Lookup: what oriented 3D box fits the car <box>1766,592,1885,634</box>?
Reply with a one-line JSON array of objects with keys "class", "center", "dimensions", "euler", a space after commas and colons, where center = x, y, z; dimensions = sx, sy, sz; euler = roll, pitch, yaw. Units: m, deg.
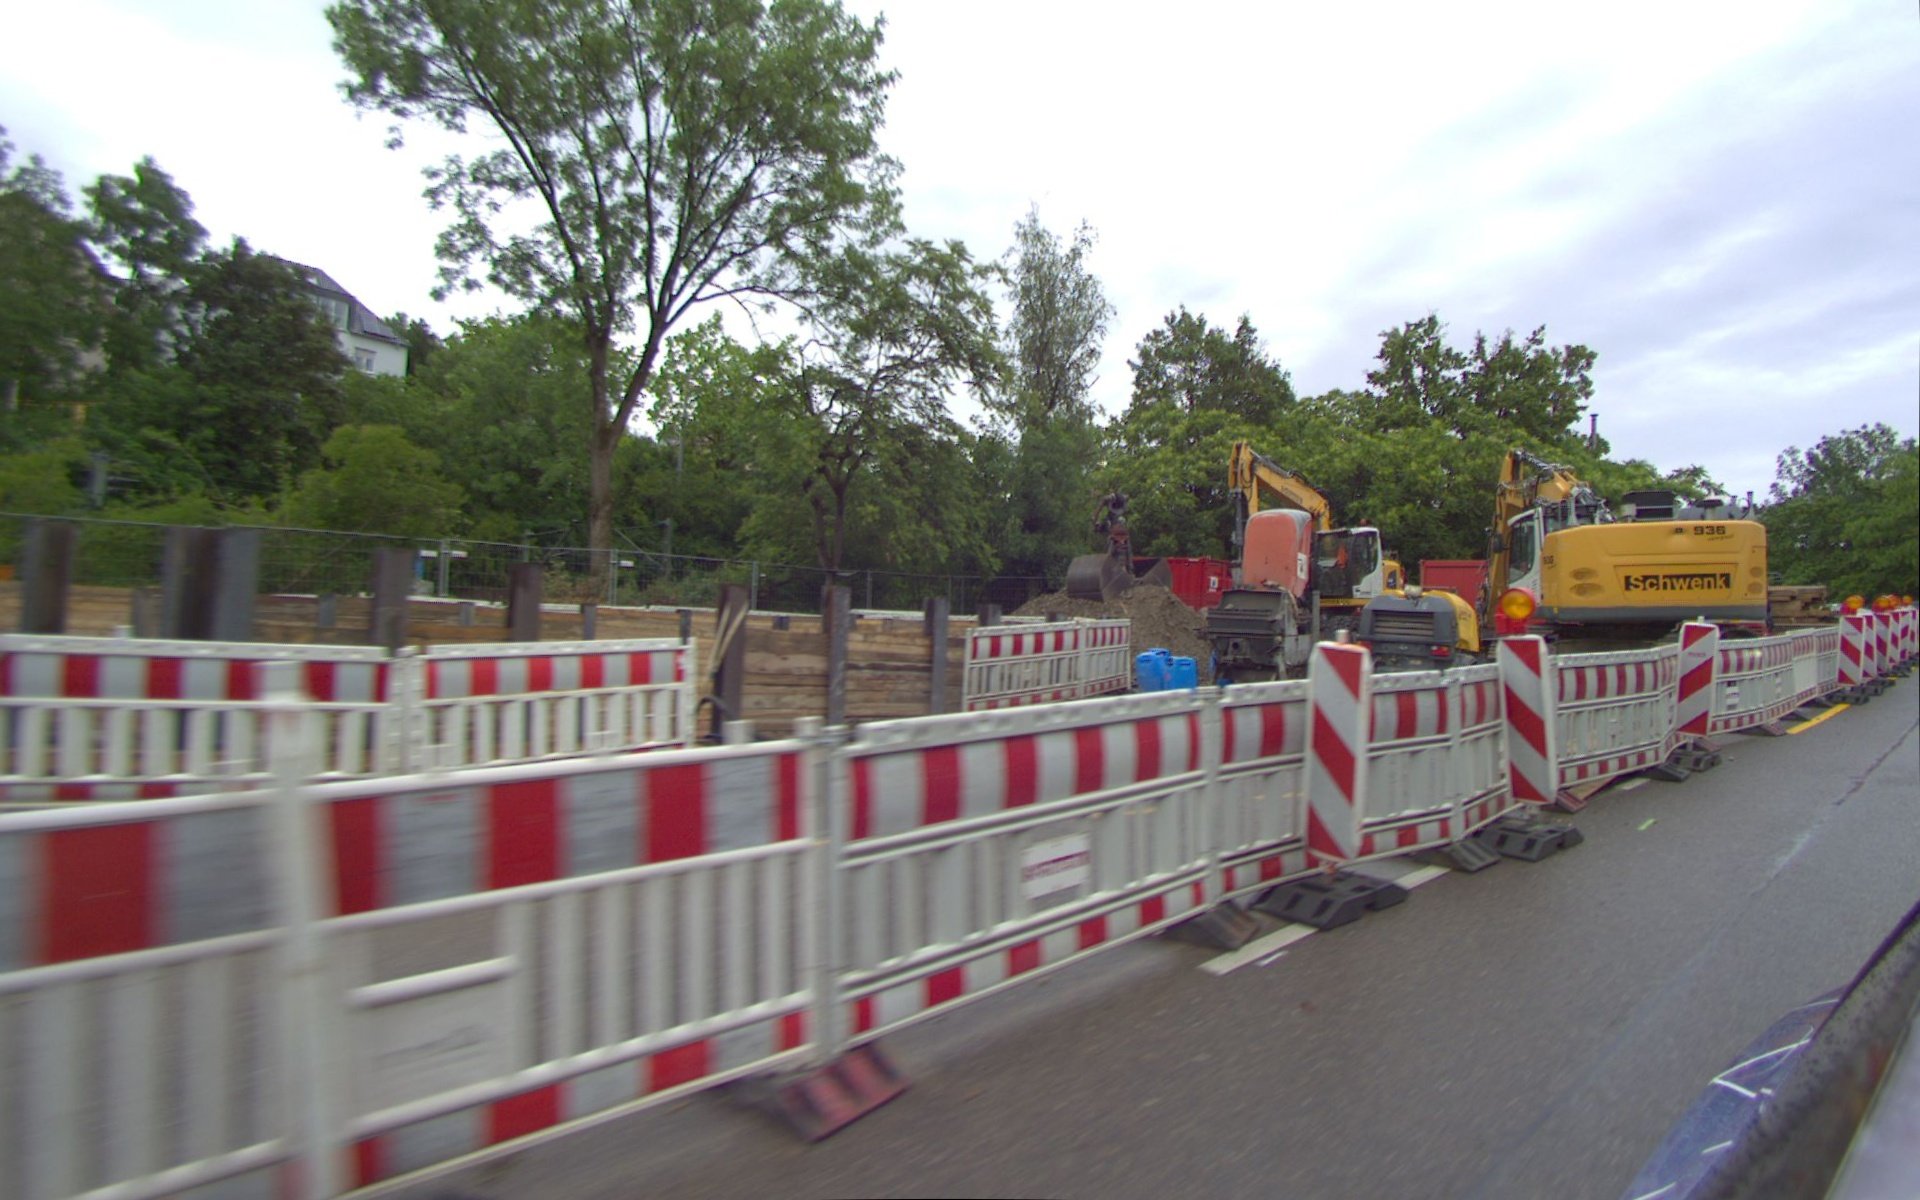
[{"class": "car", "center": [45.552, 0.717, 53.402], "dimensions": [1.834, 2.040, 4.817], "euler": [2, -2, -6]}]

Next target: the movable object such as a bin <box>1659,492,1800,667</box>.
[{"class": "movable object such as a bin", "center": [16.291, -0.480, 21.359], "dimensions": [1.993, 3.345, 3.777], "euler": [0, 2, 43]}]

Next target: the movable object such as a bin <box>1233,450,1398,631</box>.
[{"class": "movable object such as a bin", "center": [8.642, -1.279, 24.364], "dimensions": [1.994, 3.938, 4.542], "euler": [0, -1, 45]}]

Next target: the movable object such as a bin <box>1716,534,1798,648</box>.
[{"class": "movable object such as a bin", "center": [27.560, -0.195, 34.978], "dimensions": [2.072, 3.270, 5.205], "euler": [-1, -7, 39]}]

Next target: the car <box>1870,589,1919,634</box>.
[{"class": "car", "center": [45.141, 0.544, 46.970], "dimensions": [1.968, 2.039, 4.932], "euler": [1, -1, 10]}]

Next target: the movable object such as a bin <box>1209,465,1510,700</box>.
[{"class": "movable object such as a bin", "center": [6.409, -0.164, 16.310], "dimensions": [3.979, 3.247, 2.372], "euler": [0, -6, 39]}]

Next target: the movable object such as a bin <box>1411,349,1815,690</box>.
[{"class": "movable object such as a bin", "center": [12.058, -1.371, 20.406], "dimensions": [3.019, 4.978, 10.788], "euler": [-1, 2, 11]}]
